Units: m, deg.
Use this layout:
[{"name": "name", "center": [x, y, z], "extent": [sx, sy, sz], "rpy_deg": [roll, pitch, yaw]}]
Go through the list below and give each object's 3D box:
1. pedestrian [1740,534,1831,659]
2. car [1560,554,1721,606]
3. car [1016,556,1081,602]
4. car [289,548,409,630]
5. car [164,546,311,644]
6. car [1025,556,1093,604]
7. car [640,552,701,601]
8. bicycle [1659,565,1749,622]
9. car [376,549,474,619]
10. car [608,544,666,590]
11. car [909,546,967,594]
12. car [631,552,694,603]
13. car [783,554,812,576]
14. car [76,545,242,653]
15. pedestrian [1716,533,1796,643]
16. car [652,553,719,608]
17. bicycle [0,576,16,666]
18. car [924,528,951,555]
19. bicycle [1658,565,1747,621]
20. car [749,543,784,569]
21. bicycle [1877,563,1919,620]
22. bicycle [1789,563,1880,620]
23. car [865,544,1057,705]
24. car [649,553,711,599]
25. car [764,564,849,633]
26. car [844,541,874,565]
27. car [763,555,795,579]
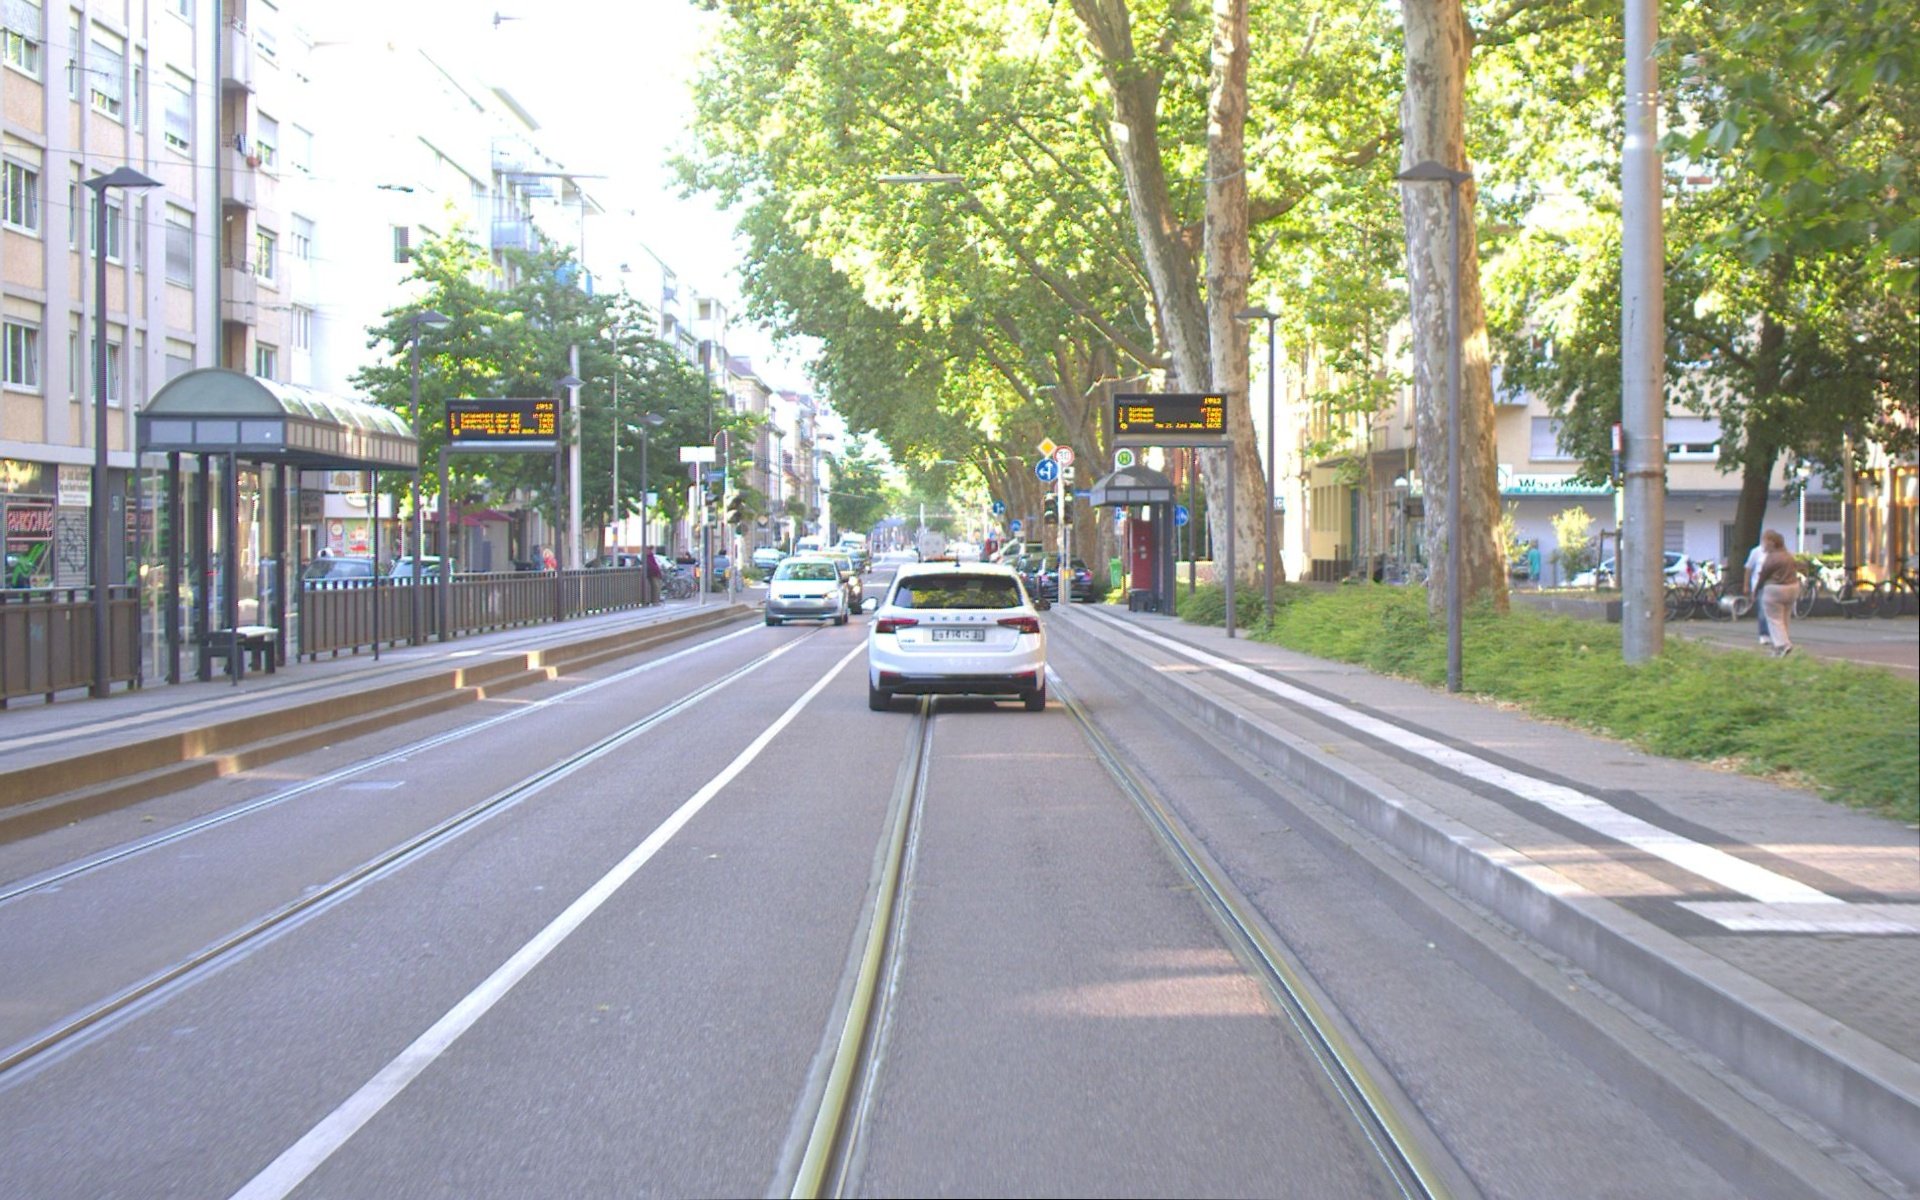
[{"name": "pedestrian", "center": [10.843, -0.053, 45.174], "extent": [0.972, 1.618, 0.887], "rpy_deg": [0, 1, 0]}, {"name": "car", "center": [18.248, -0.537, 92.283], "extent": [3.987, 1.368, 1.867], "rpy_deg": [0, 1, 2]}, {"name": "car", "center": [2.842, -0.686, 111.160], "extent": [1.993, 1.448, 4.000], "rpy_deg": [0, 1, 0]}, {"name": "car", "center": [-12.379, -0.247, 69.843], "extent": [1.678, 1.543, 4.000], "rpy_deg": [2, 1, 0]}, {"name": "car", "center": [-12.219, -0.106, 58.346], "extent": [1.593, 1.543, 4.000], "rpy_deg": [2, 1, 0]}, {"name": "car", "center": [3.035, -0.623, 106.072], "extent": [1.993, 1.448, 4.000], "rpy_deg": [0, 1, 0]}, {"name": "car", "center": [-9.746, -0.804, 116.029], "extent": [1.678, 1.543, 4.000], "rpy_deg": [2, 1, 0]}, {"name": "bicycle", "center": [13.640, -0.127, 63.017], "extent": [1.568, 1.034, 0.479], "rpy_deg": [0, 1, 21]}, {"name": "car", "center": [-12.732, -0.398, 82.003], "extent": [1.678, 1.543, 4.000], "rpy_deg": [2, 1, 0]}, {"name": "car", "center": [-11.607, -1.198, 123.791], "extent": [1.678, 1.543, 4.000], "rpy_deg": [2, 1, 0]}, {"name": "car", "center": [-0.693, -0.970, 109.059], "extent": [1.788, 1.508, 4.000], "rpy_deg": [0, 1, 0]}, {"name": "car", "center": [-9.665, -0.749, 111.835], "extent": [1.678, 1.543, 4.000], "rpy_deg": [2, 1, 0]}, {"name": "car", "center": [-11.099, -2.398, 235.132], "extent": [1.788, 1.508, 4.000], "rpy_deg": [0, 1, 0]}, {"name": "car", "center": [-12.387, -0.050, 53.363], "extent": [1.593, 1.543, 4.000], "rpy_deg": [2, 1, 0]}, {"name": "pedestrian", "center": [11.784, -0.187, 50.897], "extent": [0.972, 1.618, 0.887], "rpy_deg": [0, 1, 0]}, {"name": "car", "center": [-8.318, -0.602, 104.276], "extent": [1.678, 1.543, 4.000], "rpy_deg": [2, 1, 0]}, {"name": "bicycle", "center": [-12.661, 0.196, 41.594], "extent": [2.253, 1.070, 0.636], "rpy_deg": [3, 1, 1]}, {"name": "car", "center": [-1.546, -4.026, 236.480], "extent": [1.866, 1.886, 4.000], "rpy_deg": [0, 1, 0]}, {"name": "bicycle", "center": [13.806, -0.138, 63.931], "extent": [1.568, 1.034, 0.504], "rpy_deg": [0, 1, 21]}, {"name": "car", "center": [-11.277, -2.592, 200.385], "extent": [1.788, 1.508, 4.000], "rpy_deg": [0, 1, 0]}, {"name": "bicycle", "center": [17.658, -0.157, 63.089], "extent": [1.568, 1.034, 0.479], "rpy_deg": [0, 1, 23]}, {"name": "bicycle", "center": [16.051, -0.164, 63.081], "extent": [1.568, 1.034, 0.479], "rpy_deg": [0, 1, 21]}, {"name": "car", "center": [0.003, 0.196, 34.091], "extent": [1.788, 1.508, 4.000], "rpy_deg": [0, 1, 0]}, {"name": "car", "center": [-9.775, -0.853, 120.203], "extent": [1.794, 1.505, 4.000], "rpy_deg": [2, 1, 0]}, {"name": "car", "center": [-3.310, -0.052, 74.670], "extent": [1.694, 1.414, 4.000], "rpy_deg": [0, 1, 0]}, {"name": "car", "center": [-6.523, -3.053, 222.097], "extent": [1.788, 1.508, 4.000], "rpy_deg": [0, 1, 0]}, {"name": "car", "center": [-11.386, -2.081, 216.248], "extent": [1.788, 1.508, 4.000], "rpy_deg": [0, 1, 0]}]
